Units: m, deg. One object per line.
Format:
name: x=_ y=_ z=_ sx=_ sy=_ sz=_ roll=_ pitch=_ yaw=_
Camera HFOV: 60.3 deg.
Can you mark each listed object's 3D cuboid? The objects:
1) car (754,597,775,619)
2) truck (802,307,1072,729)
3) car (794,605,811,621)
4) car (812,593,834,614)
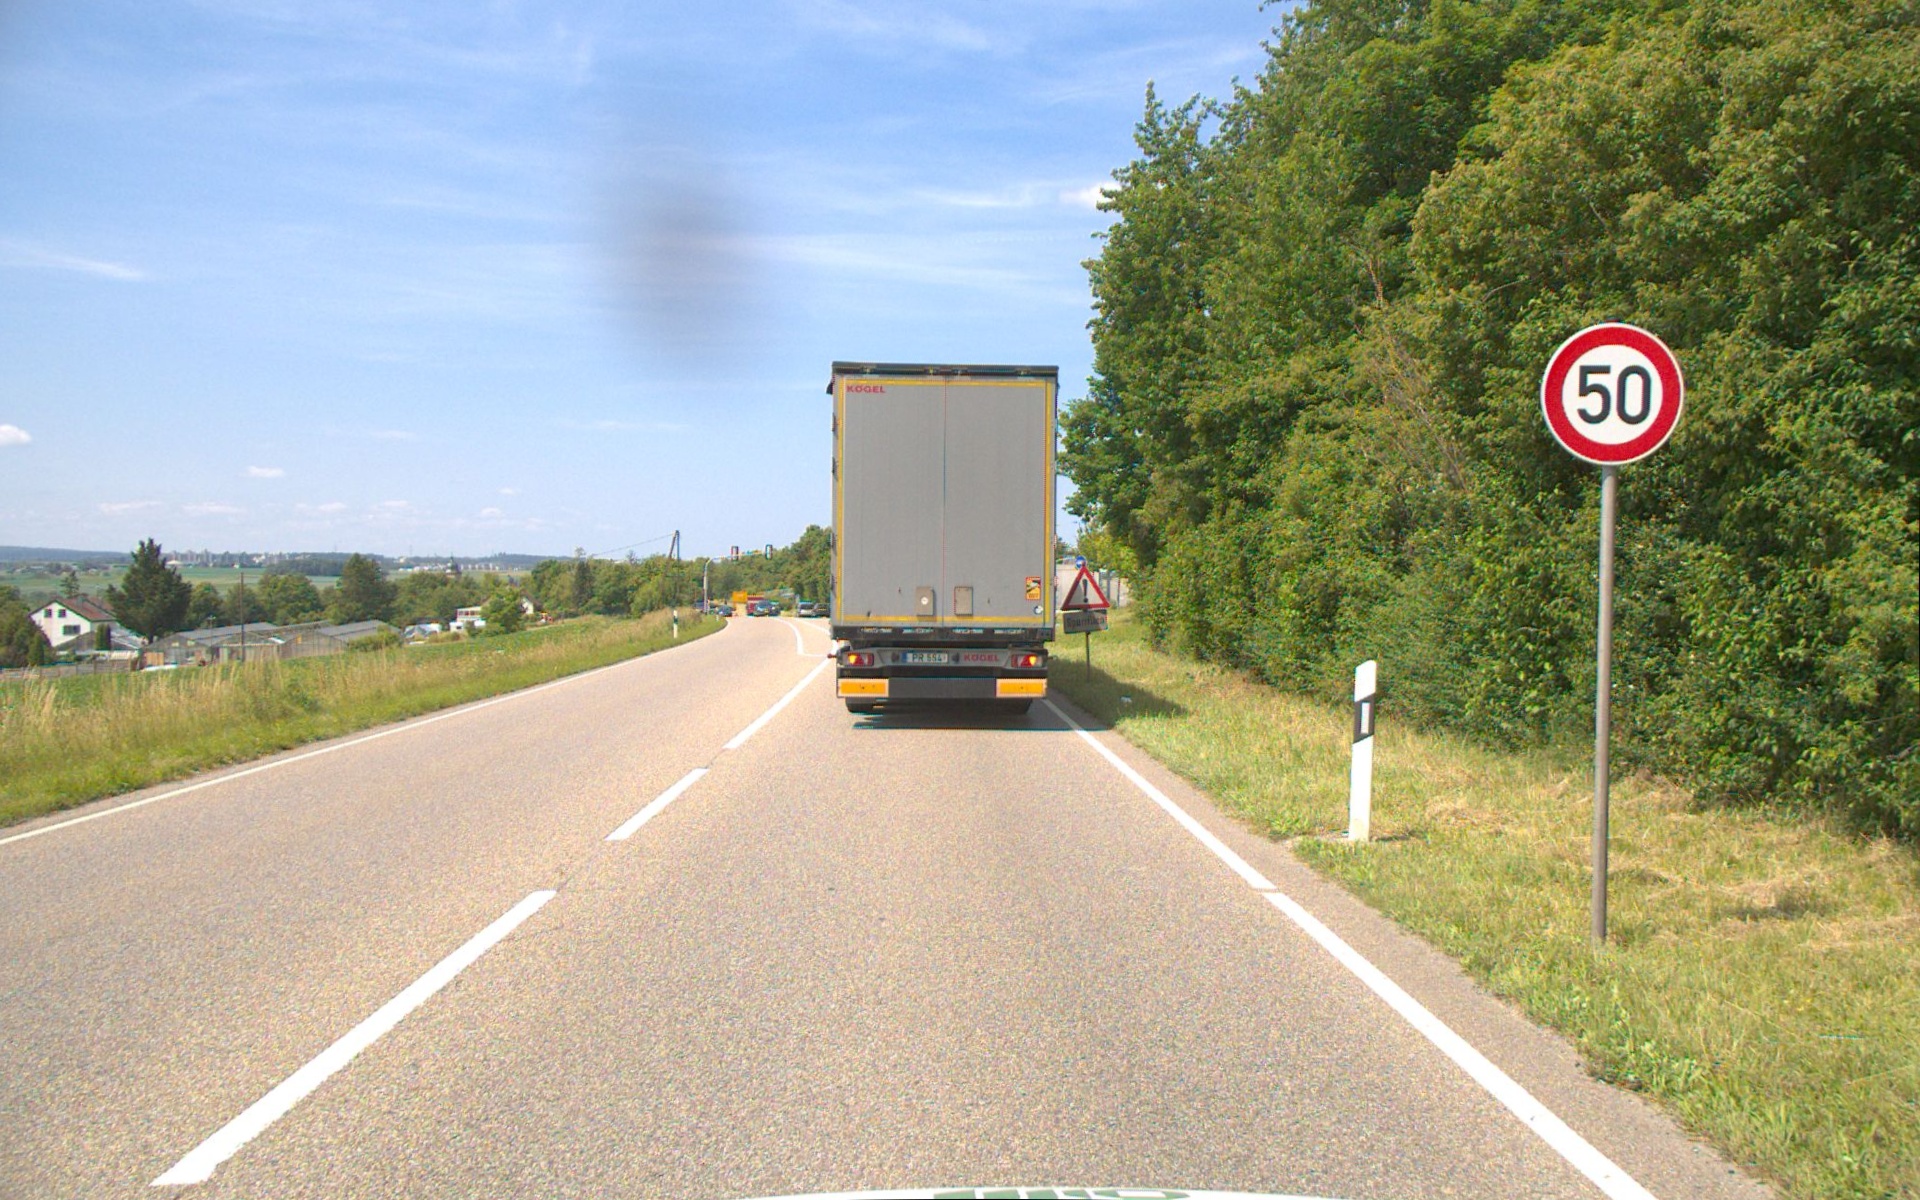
car: x=-19.009 y=0.759 z=160.990 sx=1.955 sy=1.984 sz=4.497 roll=-2 pitch=0 yaw=-6
truck: x=-0.516 y=-0.894 z=22.185 sx=2.849 sy=4.487 sz=8.853 roll=1 pitch=0 yaw=-4
car: x=-18.143 y=1.490 z=190.671 sx=1.855 sy=1.808 sz=4.381 roll=-2 pitch=0 yaw=-5
car: x=-14.277 y=0.363 z=172.491 sx=2.129 sy=2.049 sz=4.521 roll=-2 pitch=0 yaw=-5
